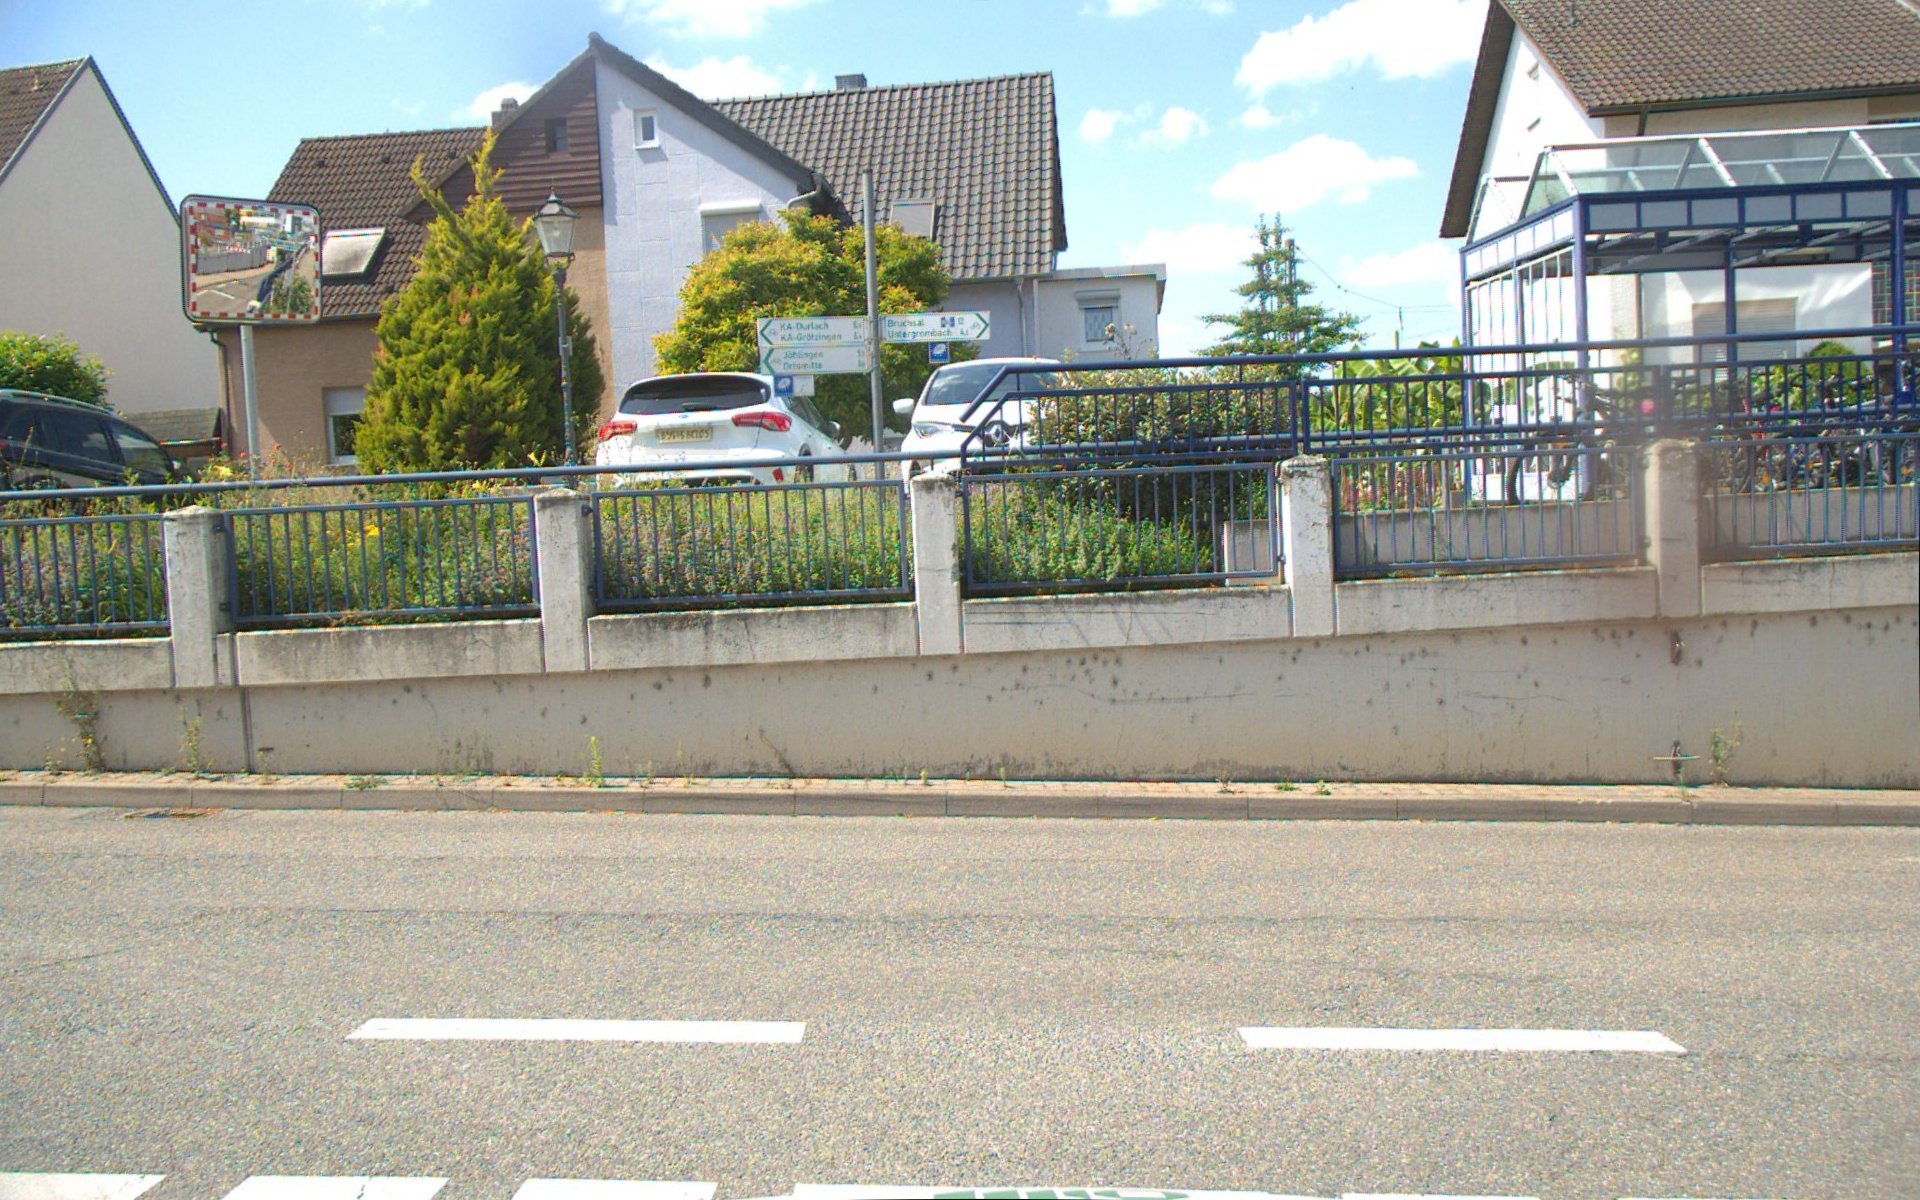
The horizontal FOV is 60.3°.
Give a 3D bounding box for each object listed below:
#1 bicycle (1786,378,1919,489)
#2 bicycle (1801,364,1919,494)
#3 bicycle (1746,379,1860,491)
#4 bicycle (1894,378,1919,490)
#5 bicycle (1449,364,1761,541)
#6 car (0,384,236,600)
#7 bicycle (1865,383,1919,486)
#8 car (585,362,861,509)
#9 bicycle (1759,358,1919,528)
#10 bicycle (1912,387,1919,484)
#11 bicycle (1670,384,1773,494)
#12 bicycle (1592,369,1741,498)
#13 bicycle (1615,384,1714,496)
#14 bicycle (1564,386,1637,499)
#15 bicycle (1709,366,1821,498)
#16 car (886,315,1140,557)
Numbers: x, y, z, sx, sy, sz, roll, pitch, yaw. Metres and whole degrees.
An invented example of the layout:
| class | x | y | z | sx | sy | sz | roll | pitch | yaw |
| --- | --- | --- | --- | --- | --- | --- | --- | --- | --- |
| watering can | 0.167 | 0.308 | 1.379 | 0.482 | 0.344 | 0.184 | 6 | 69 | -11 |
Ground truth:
| class | x | y | z | sx | sy | sz | roll | pitch | yaw |
| --- | --- | --- | --- | --- | --- | --- | --- | --- | --- |
| bicycle | 8.968 | -1.637 | 16.589 | 0.417 | 1.012 | 1.967 | -2 | 3 | 2 |
| bicycle | 7.783 | -1.428 | 14.171 | 0.426 | 1.012 | 2.105 | -2 | 3 | 10 |
| bicycle | 8.341 | -1.604 | 16.432 | 0.365 | 1.012 | 1.968 | -2 | 3 | 8 |
| bicycle | 8.876 | -1.484 | 14.420 | 0.426 | 1.012 | 2.284 | -2 | 3 | 7 |
| bicycle | 4.526 | -1.032 | 11.631 | 2.072 | 1.145 | 0.333 | -2 | 3 | -3 |
| car | -8.944 | -0.974 | 16.054 | 1.828 | 1.828 | 4.002 | 1 | 1 | 4 |
| bicycle | 9.798 | -1.663 | 16.466 | 0.464 | 1.012 | 1.966 | -2 | 3 | -1 |
| car | -2.033 | -1.434 | 15.141 | 1.786 | 1.037 | 3.461 | 1 | 1 | 4 |
| bicycle | 6.784 | -1.126 | 11.731 | 2.072 | 1.145 | 0.392 | -2 | 3 | -2 |
| bicycle | 10.266 | -1.681 | 16.462 | 0.405 | 1.012 | 1.966 | -2 | 3 | -1 |
| bicycle | 7.627 | -1.586 | 16.625 | 0.365 | 1.012 | 1.968 | -2 | 3 | 8 |
| bicycle | 6.119 | -1.411 | 14.430 | 0.325 | 1.012 | 2.075 | -2 | 3 | -2 |
| bicycle | 6.884 | -1.536 | 16.223 | 0.365 | 1.012 | 1.968 | -2 | 3 | 8 |
| bicycle | 6.205 | -1.501 | 16.079 | 0.445 | 1.012 | 1.890 | -1 | 3 | 15 |
| bicycle | 6.778 | -1.379 | 13.995 | 0.426 | 1.012 | 2.104 | -1 | 3 | 15 |
| car | 0.558 | -1.336 | 14.991 | 1.952 | 1.828 | 4.199 | 1 | 1 | 4 |
